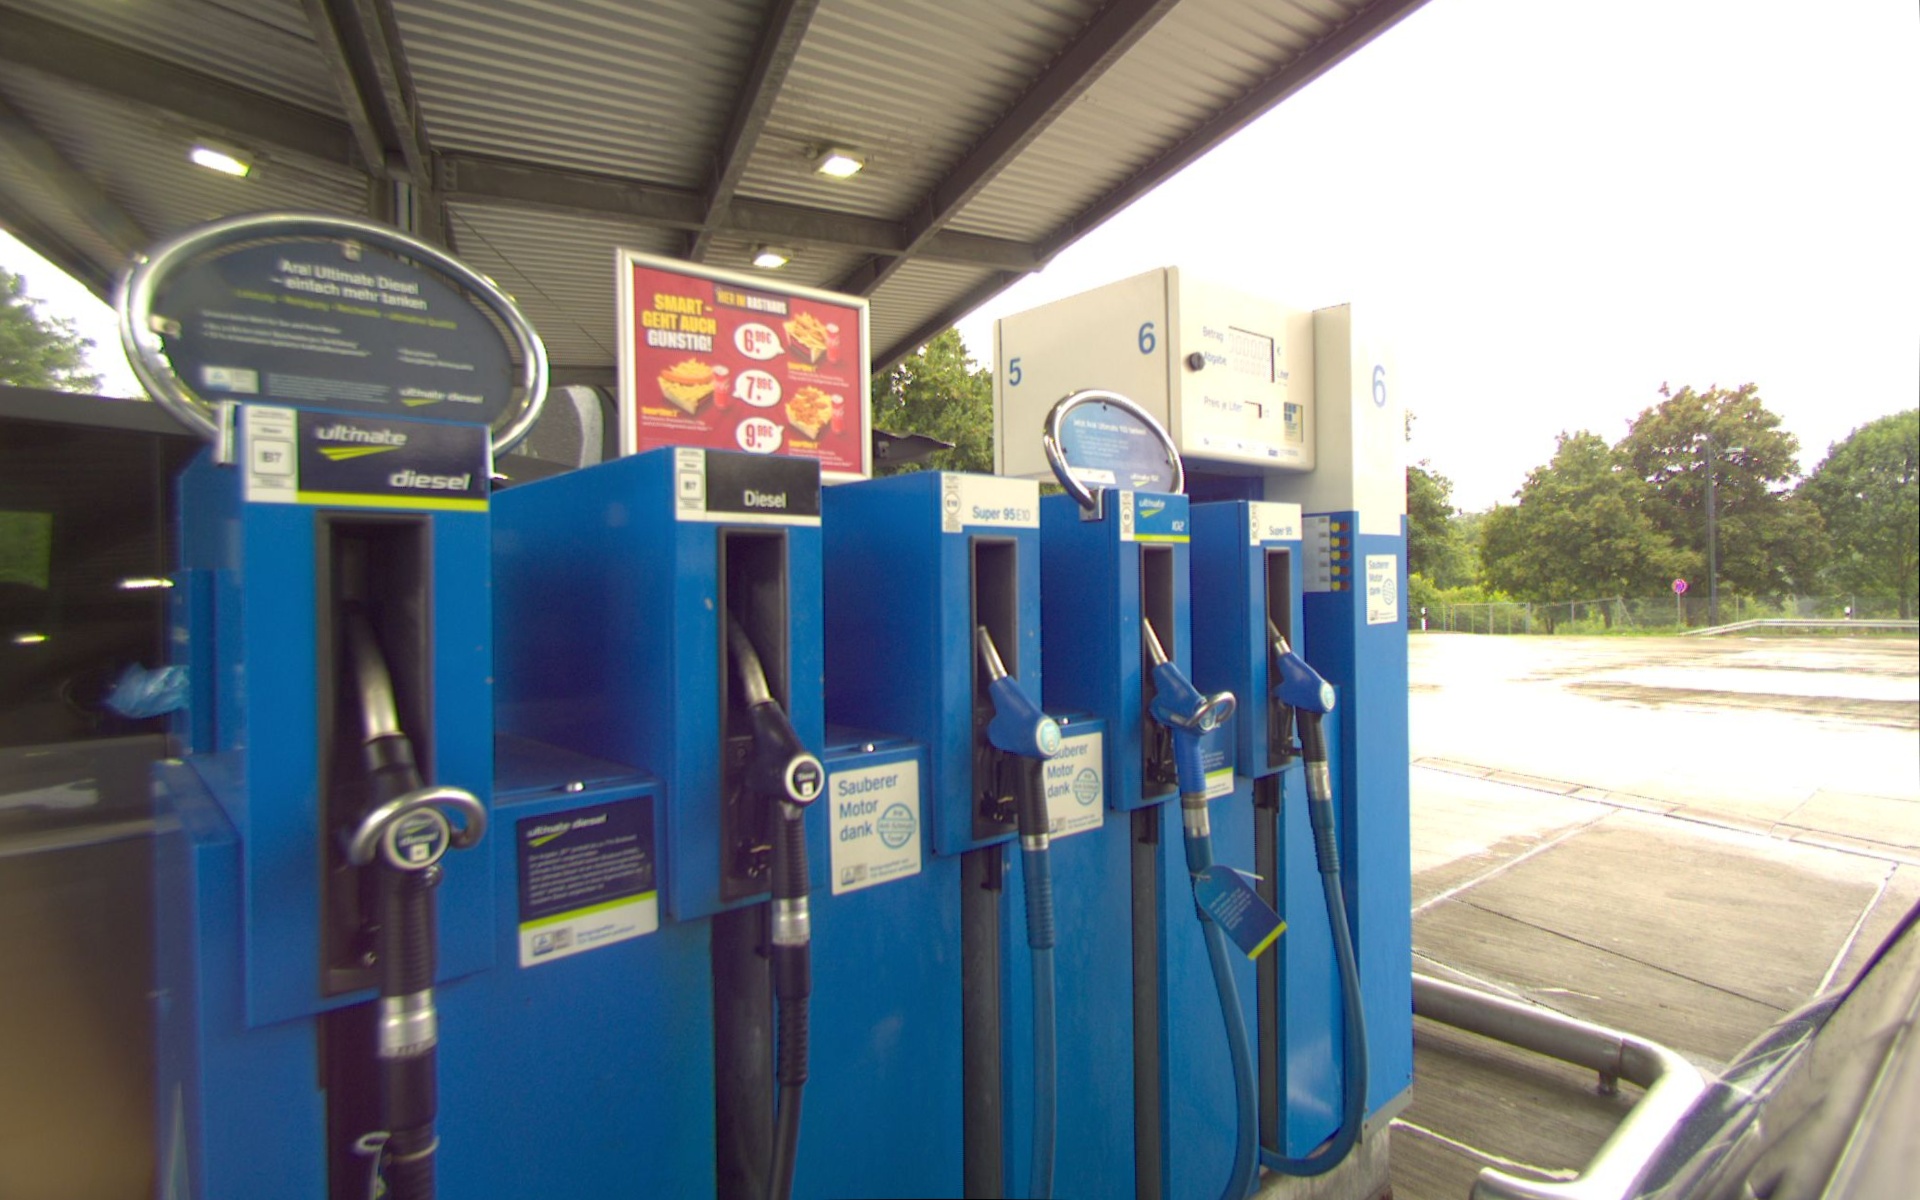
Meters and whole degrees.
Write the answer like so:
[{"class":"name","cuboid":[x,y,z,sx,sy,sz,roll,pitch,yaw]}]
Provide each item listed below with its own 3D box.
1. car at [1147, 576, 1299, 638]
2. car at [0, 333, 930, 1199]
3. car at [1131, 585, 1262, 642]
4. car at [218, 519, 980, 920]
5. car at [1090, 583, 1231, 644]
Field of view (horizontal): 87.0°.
[{"class":"car","cuboid":[8.894,0.205,34.511,4.817,1.974,2.306,1,1,14]},{"class":"car","cuboid":[-2.592,0.501,1.825,5.050,1.821,1.864,-1,0,-41]},{"class":"car","cuboid":[7.432,0.384,31.929,3.941,1.680,1.593,1,0,14]},{"class":"car","cuboid":[-2.136,0.517,6.778,4.460,1.821,1.864,-1,0,-41]},{"class":"car","cuboid":[5.878,0.372,29.738,3.941,1.680,1.593,1,0,14]}]
